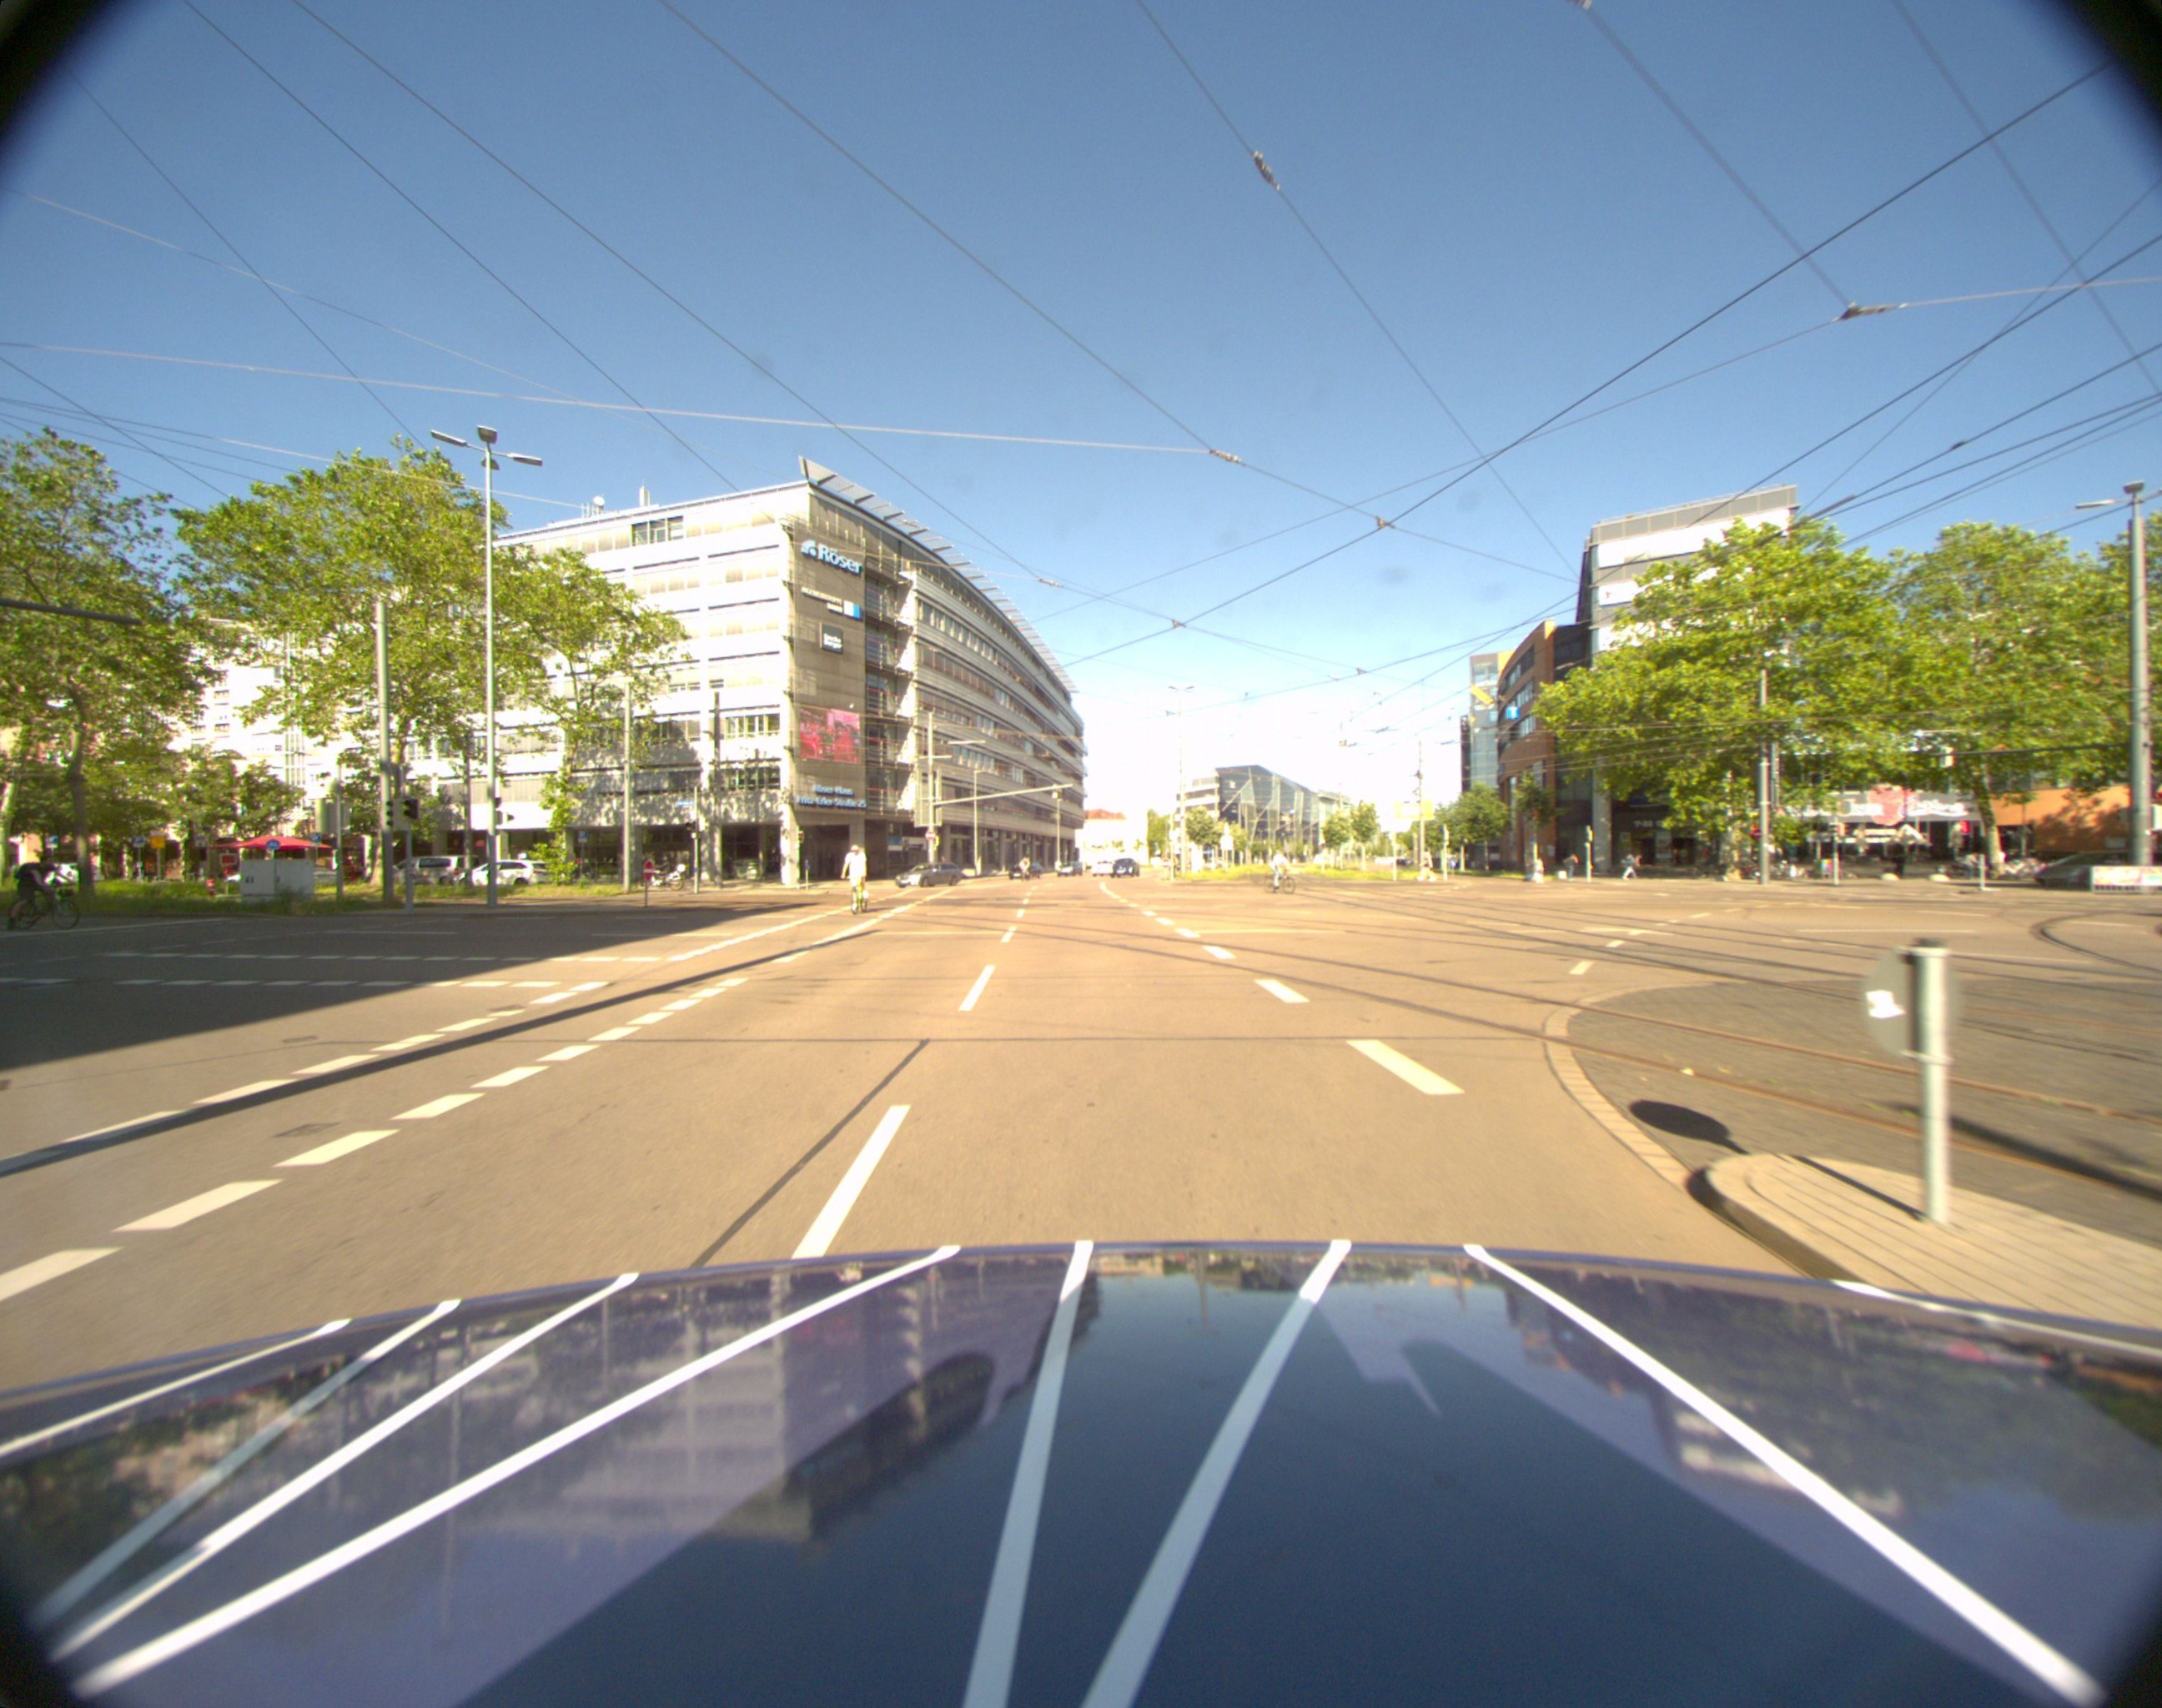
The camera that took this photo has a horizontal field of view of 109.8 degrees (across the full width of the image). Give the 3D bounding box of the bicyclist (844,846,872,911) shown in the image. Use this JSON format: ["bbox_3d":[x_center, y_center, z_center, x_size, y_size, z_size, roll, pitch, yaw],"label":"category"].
[{"bbox_3d":[-6.177,0.664,21.042,0.652,1.742,1.043,0,-1,-21],"label":"bicyclist"}]

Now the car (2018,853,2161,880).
[{"bbox_3d":[47.450,0.593,35.643,3.992,1.224,2.002,-1,0,14],"label":"car"}]

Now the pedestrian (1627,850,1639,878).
[{"bbox_3d":[36.209,0.636,49.862,0.462,1.820,0.458,0,0,-23],"label":"pedestrian"}]

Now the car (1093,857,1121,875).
[{"bbox_3d":[2.431,1.128,70.723,1.872,1.620,4.343,-1,-1,12],"label":"car"}]

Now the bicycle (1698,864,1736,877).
[{"bbox_3d":[40.961,1.062,48.952,2.028,0.794,0.376,0,0,6],"label":"bicycle"}]

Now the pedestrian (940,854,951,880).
[{"bbox_3d":[-9.479,0.927,53.083,0.609,1.787,0.639,1,0,-21],"label":"pedestrian"}]

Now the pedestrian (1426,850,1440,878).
[{"bbox_3d":[22.569,0.639,48.709,0.762,1.820,0.625,0,0,20],"label":"pedestrian"}]

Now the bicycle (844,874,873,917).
[{"bbox_3d":[-6.174,1.133,21.024,0.652,1.103,1.755,0,0,-21],"label":"bicycle"}]

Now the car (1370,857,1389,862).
[{"bbox_3d":[67.134,1.267,170.858,3.990,1.084,2.004,-1,0,25],"label":"car"}]

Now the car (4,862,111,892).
[{"bbox_3d":[-61.713,1.397,45.861,3.996,1.573,1.913,-2,-2,2],"label":"car"}]

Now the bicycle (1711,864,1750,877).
[{"bbox_3d":[40.906,1.059,47.884,2.028,0.794,0.376,0,0,6],"label":"bicycle"}]

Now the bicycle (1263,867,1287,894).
[{"bbox_3d":[8.241,1.098,32.421,0.688,1.063,2.699,-2,-1,8],"label":"bicycle"}]

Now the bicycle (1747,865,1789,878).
[{"bbox_3d":[40.826,1.049,45.160,2.028,0.794,0.376,0,0,6],"label":"bicycle"}]

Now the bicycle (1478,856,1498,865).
[{"bbox_3d":[51.658,0.841,96.400,2.175,1.116,0.754,-2,0,24],"label":"bicycle"}]

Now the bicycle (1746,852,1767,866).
[{"bbox_3d":[54.176,0.426,60.984,0.493,1.127,1.805,0,0,14],"label":"bicycle"}]

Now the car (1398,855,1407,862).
[{"bbox_3d":[63.578,0.904,150.389,1.430,1.351,3.300,0,0,18],"label":"car"}]

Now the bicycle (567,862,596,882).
[{"bbox_3d":[-32.108,1.153,48.880,0.468,1.212,1.731,0,0,10],"label":"bicycle"}]

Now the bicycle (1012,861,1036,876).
[{"bbox_3d":[-4.061,1.045,54.470,0.826,1.030,1.895,-2,-1,26],"label":"bicycle"}]

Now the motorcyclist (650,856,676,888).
[{"bbox_3d":[-21.078,0.896,38.326,0.942,1.552,0.830,-2,0,-16],"label":"motorcyclist"}]

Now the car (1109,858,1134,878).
[{"bbox_3d":[3.214,1.074,59.761,1.873,1.547,4.001,0,0,3],"label":"car"}]

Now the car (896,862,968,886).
[{"bbox_3d":[-8.947,1.183,46.002,1.723,1.388,4.796,-1,0,25],"label":"car"}]

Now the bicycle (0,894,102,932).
[{"bbox_3d":[-23.725,1.344,17.465,1.672,0.802,0.673,0,0,4],"label":"bicycle"}]

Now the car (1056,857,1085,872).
[{"bbox_3d":[-1.039,1.029,77.342,1.724,1.515,4.404,-1,0,15],"label":"car"}]

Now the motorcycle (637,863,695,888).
[{"bbox_3d":[-20.955,1.072,38.421,2.392,1.194,0.830,-2,0,-17],"label":"motorcycle"}]

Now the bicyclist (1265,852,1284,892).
[{"bbox_3d":[8.233,0.758,32.417,0.619,1.659,1.020,-2,0,8],"label":"bicyclist"}]

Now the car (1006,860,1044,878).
[{"bbox_3d":[-4.584,1.212,63.086,1.724,1.414,4.642,-1,0,14],"label":"car"}]

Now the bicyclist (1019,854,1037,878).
[{"bbox_3d":[-3.826,0.885,54.832,0.807,1.683,1.053,-2,-1,30],"label":"bicyclist"}]

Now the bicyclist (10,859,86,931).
[{"bbox_3d":[-23.737,0.920,17.471,0.865,1.620,0.672,0,0,4],"label":"bicyclist"}]

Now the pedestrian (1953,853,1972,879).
[{"bbox_3d":[50.083,0.676,43.182,0.646,1.444,0.502,0,0,42],"label":"pedestrian"}]

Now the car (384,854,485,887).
[{"bbox_3d":[-37.066,0.927,43.635,4.385,1.841,1.821,0,1,5],"label":"car"}]

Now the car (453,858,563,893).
[{"bbox_3d":[-29.114,1.077,38.680,4.134,1.574,1.913,-2,-1,2],"label":"car"}]

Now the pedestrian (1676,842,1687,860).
[{"bbox_3d":[54.261,-0.303,68.690,0.507,1.615,0.789,-1,1,15],"label":"pedestrian"}]

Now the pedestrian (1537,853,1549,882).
[{"bbox_3d":[28.762,0.853,47.304,0.386,1.820,0.463,0,0,-16],"label":"pedestrian"}]

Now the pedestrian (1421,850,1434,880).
[{"bbox_3d":[21.500,0.695,47.134,0.761,1.820,0.626,0,0,24],"label":"pedestrian"}]

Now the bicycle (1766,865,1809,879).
[{"bbox_3d":[40.860,1.035,43.952,2.028,0.794,0.376,0,0,6],"label":"bicycle"}]

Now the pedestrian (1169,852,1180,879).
[{"bbox_3d":[6.199,0.746,50.208,0.671,1.742,0.769,0,0,2],"label":"pedestrian"}]

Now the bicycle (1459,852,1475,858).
[{"bbox_3d":[59.569,0.184,117.250,2.175,0.949,0.494,-2,0,24],"label":"bicycle"}]

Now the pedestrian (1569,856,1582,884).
[{"bbox_3d":[32.680,1.038,50.237,0.583,1.820,0.497,0,0,-23],"label":"pedestrian"}]

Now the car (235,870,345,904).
[{"bbox_3d":[-40.351,1.681,38.779,4.131,1.532,1.914,-2,-1,11],"label":"car"}]
